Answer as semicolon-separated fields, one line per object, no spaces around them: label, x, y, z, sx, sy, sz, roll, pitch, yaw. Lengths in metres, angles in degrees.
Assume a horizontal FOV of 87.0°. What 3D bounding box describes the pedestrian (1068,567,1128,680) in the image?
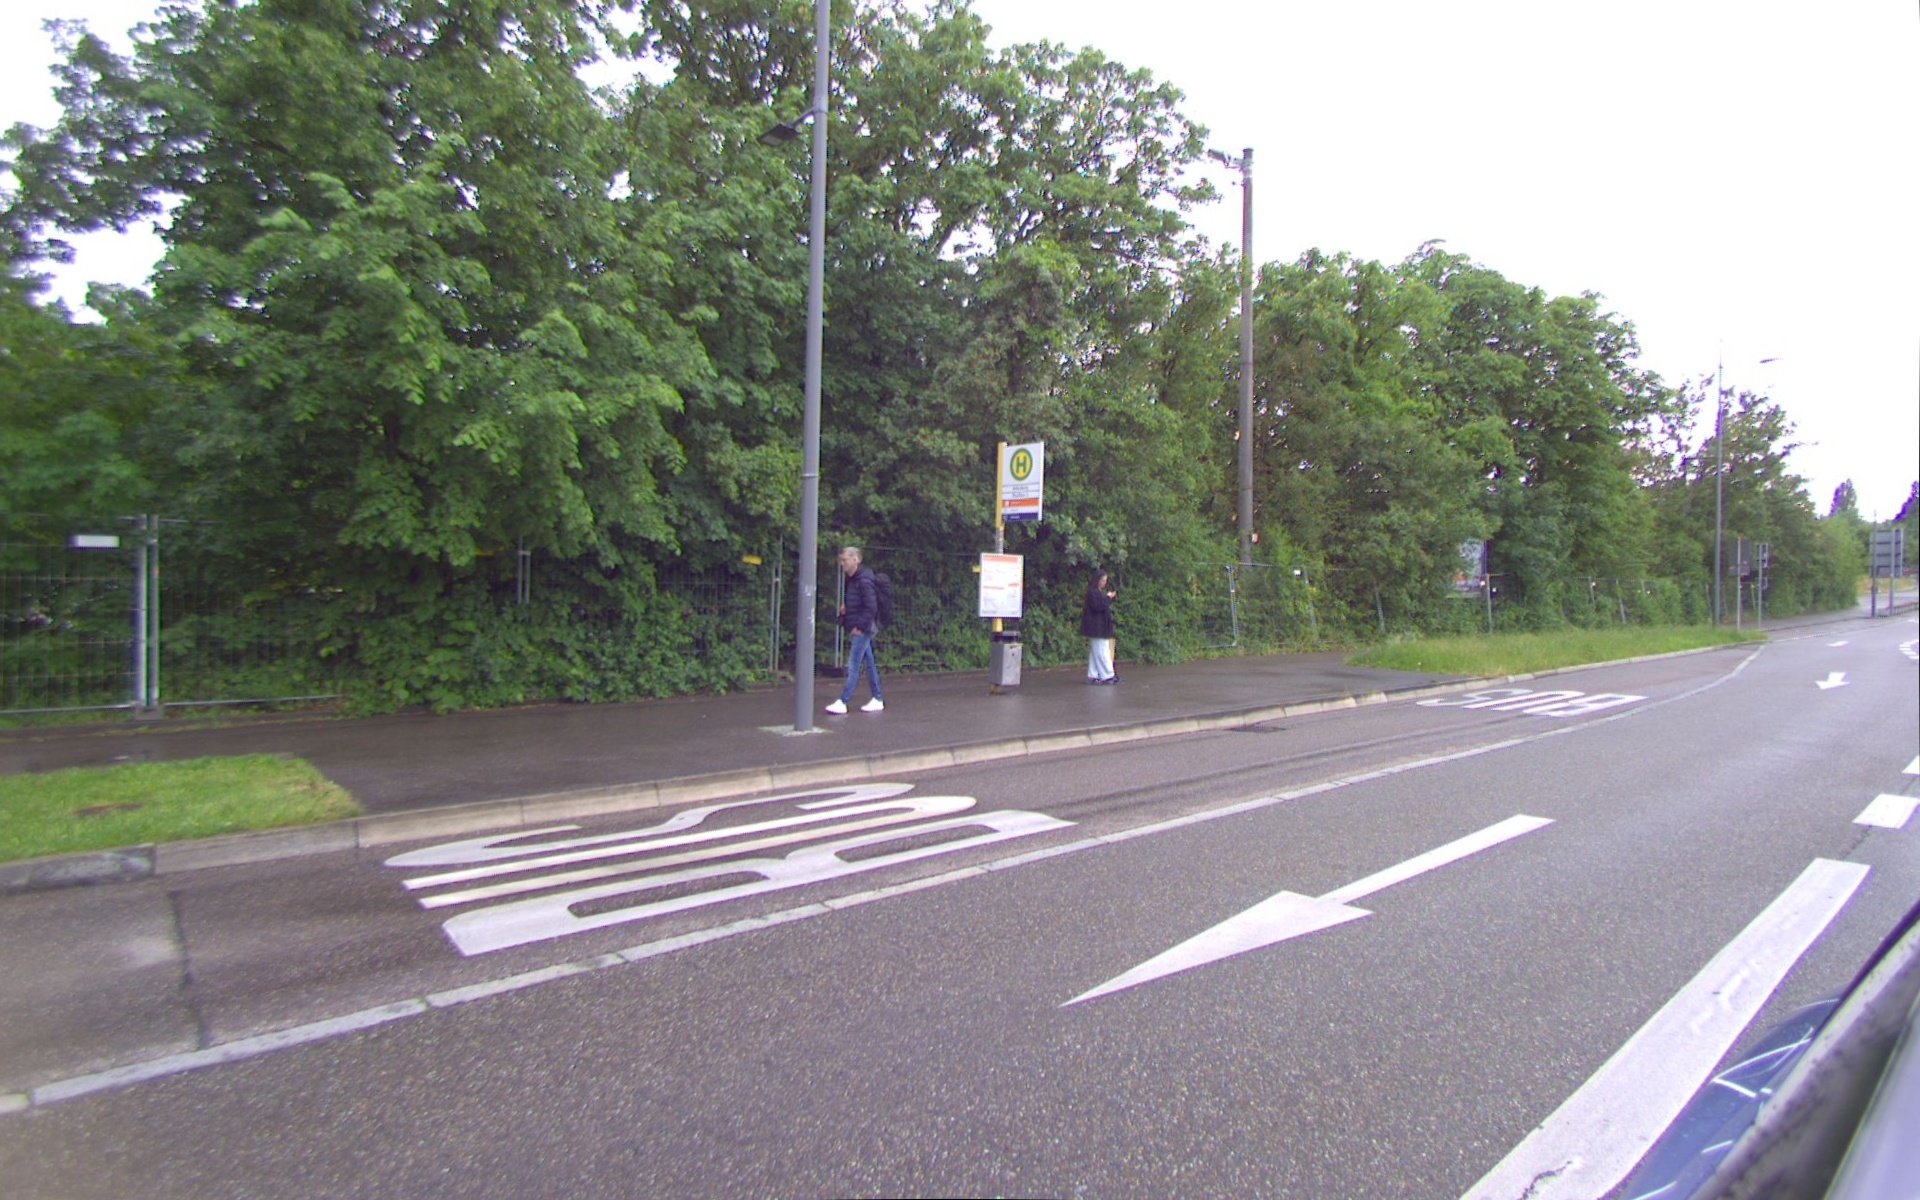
pedestrian;2.075;0.328;15.193;0.650;1.648;0.588;0;1;-40

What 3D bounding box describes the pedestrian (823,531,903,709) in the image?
pedestrian;-1.131;0.213;11.750;0.587;1.973;0.742;0;1;-40
